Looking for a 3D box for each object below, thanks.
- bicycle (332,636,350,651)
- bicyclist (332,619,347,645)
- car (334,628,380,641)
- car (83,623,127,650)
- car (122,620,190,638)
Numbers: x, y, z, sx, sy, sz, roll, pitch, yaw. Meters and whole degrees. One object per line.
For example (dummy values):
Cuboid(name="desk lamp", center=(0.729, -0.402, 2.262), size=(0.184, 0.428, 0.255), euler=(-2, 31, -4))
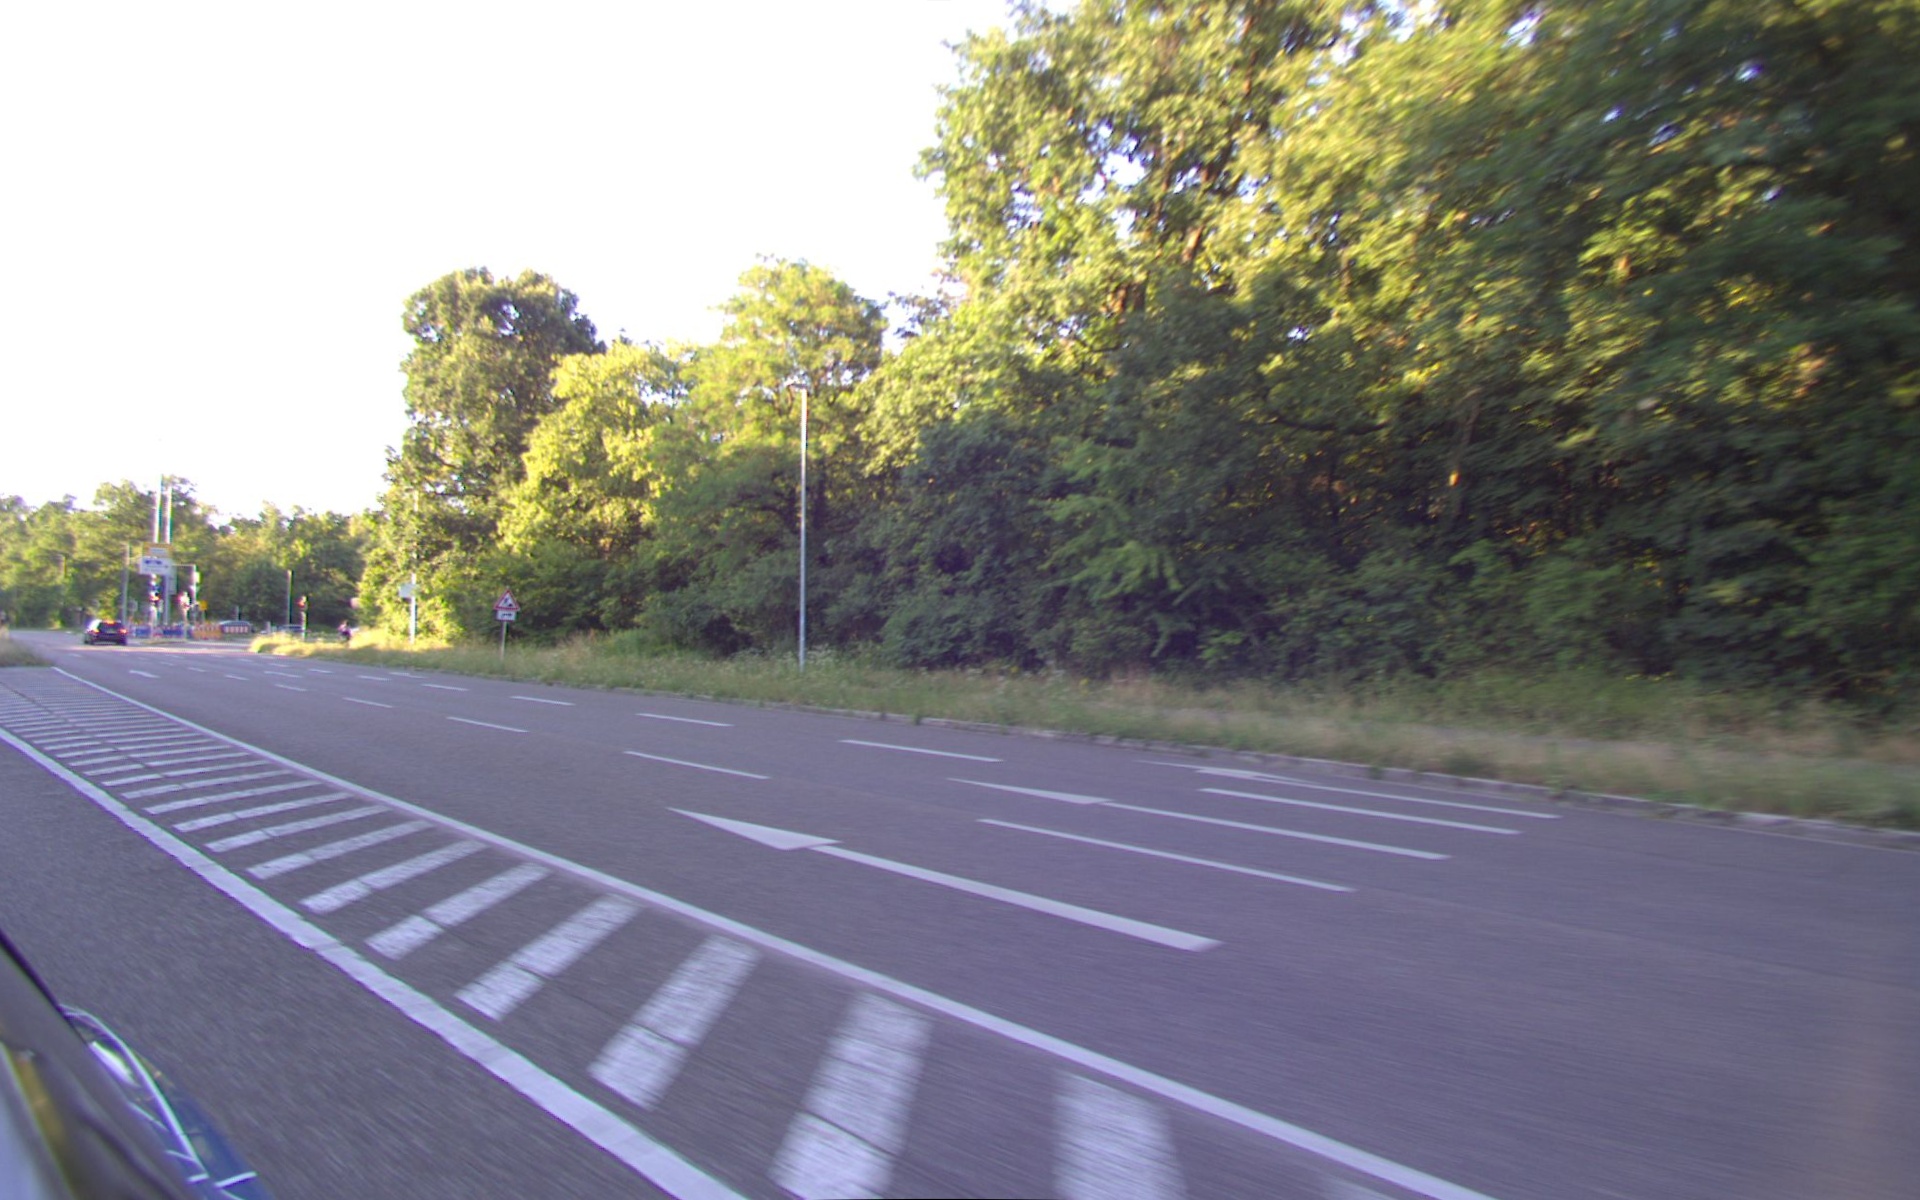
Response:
Cuboid(name="bicycle", center=(-34.804, 2.464, 56.877), size=(0.578, 0.810, 1.962), euler=(3, -3, -39))
Cuboid(name="bicyclist", center=(-34.910, 1.813, 56.940), size=(0.578, 1.440, 0.824), euler=(3, -3, -39))
Cuboid(name="car", center=(-67.467, 3.873, 113.285), size=(1.715, 1.467, 4.190), euler=(-1, -2, 29))
Cuboid(name="car", center=(-51.390, 2.192, 60.782), size=(1.797, 1.545, 4.460), euler=(5, -4, -42))
Cuboid(name="car", center=(-67.761, 2.477, 85.364), size=(1.712, 1.467, 4.197), euler=(0, -2, 25))
